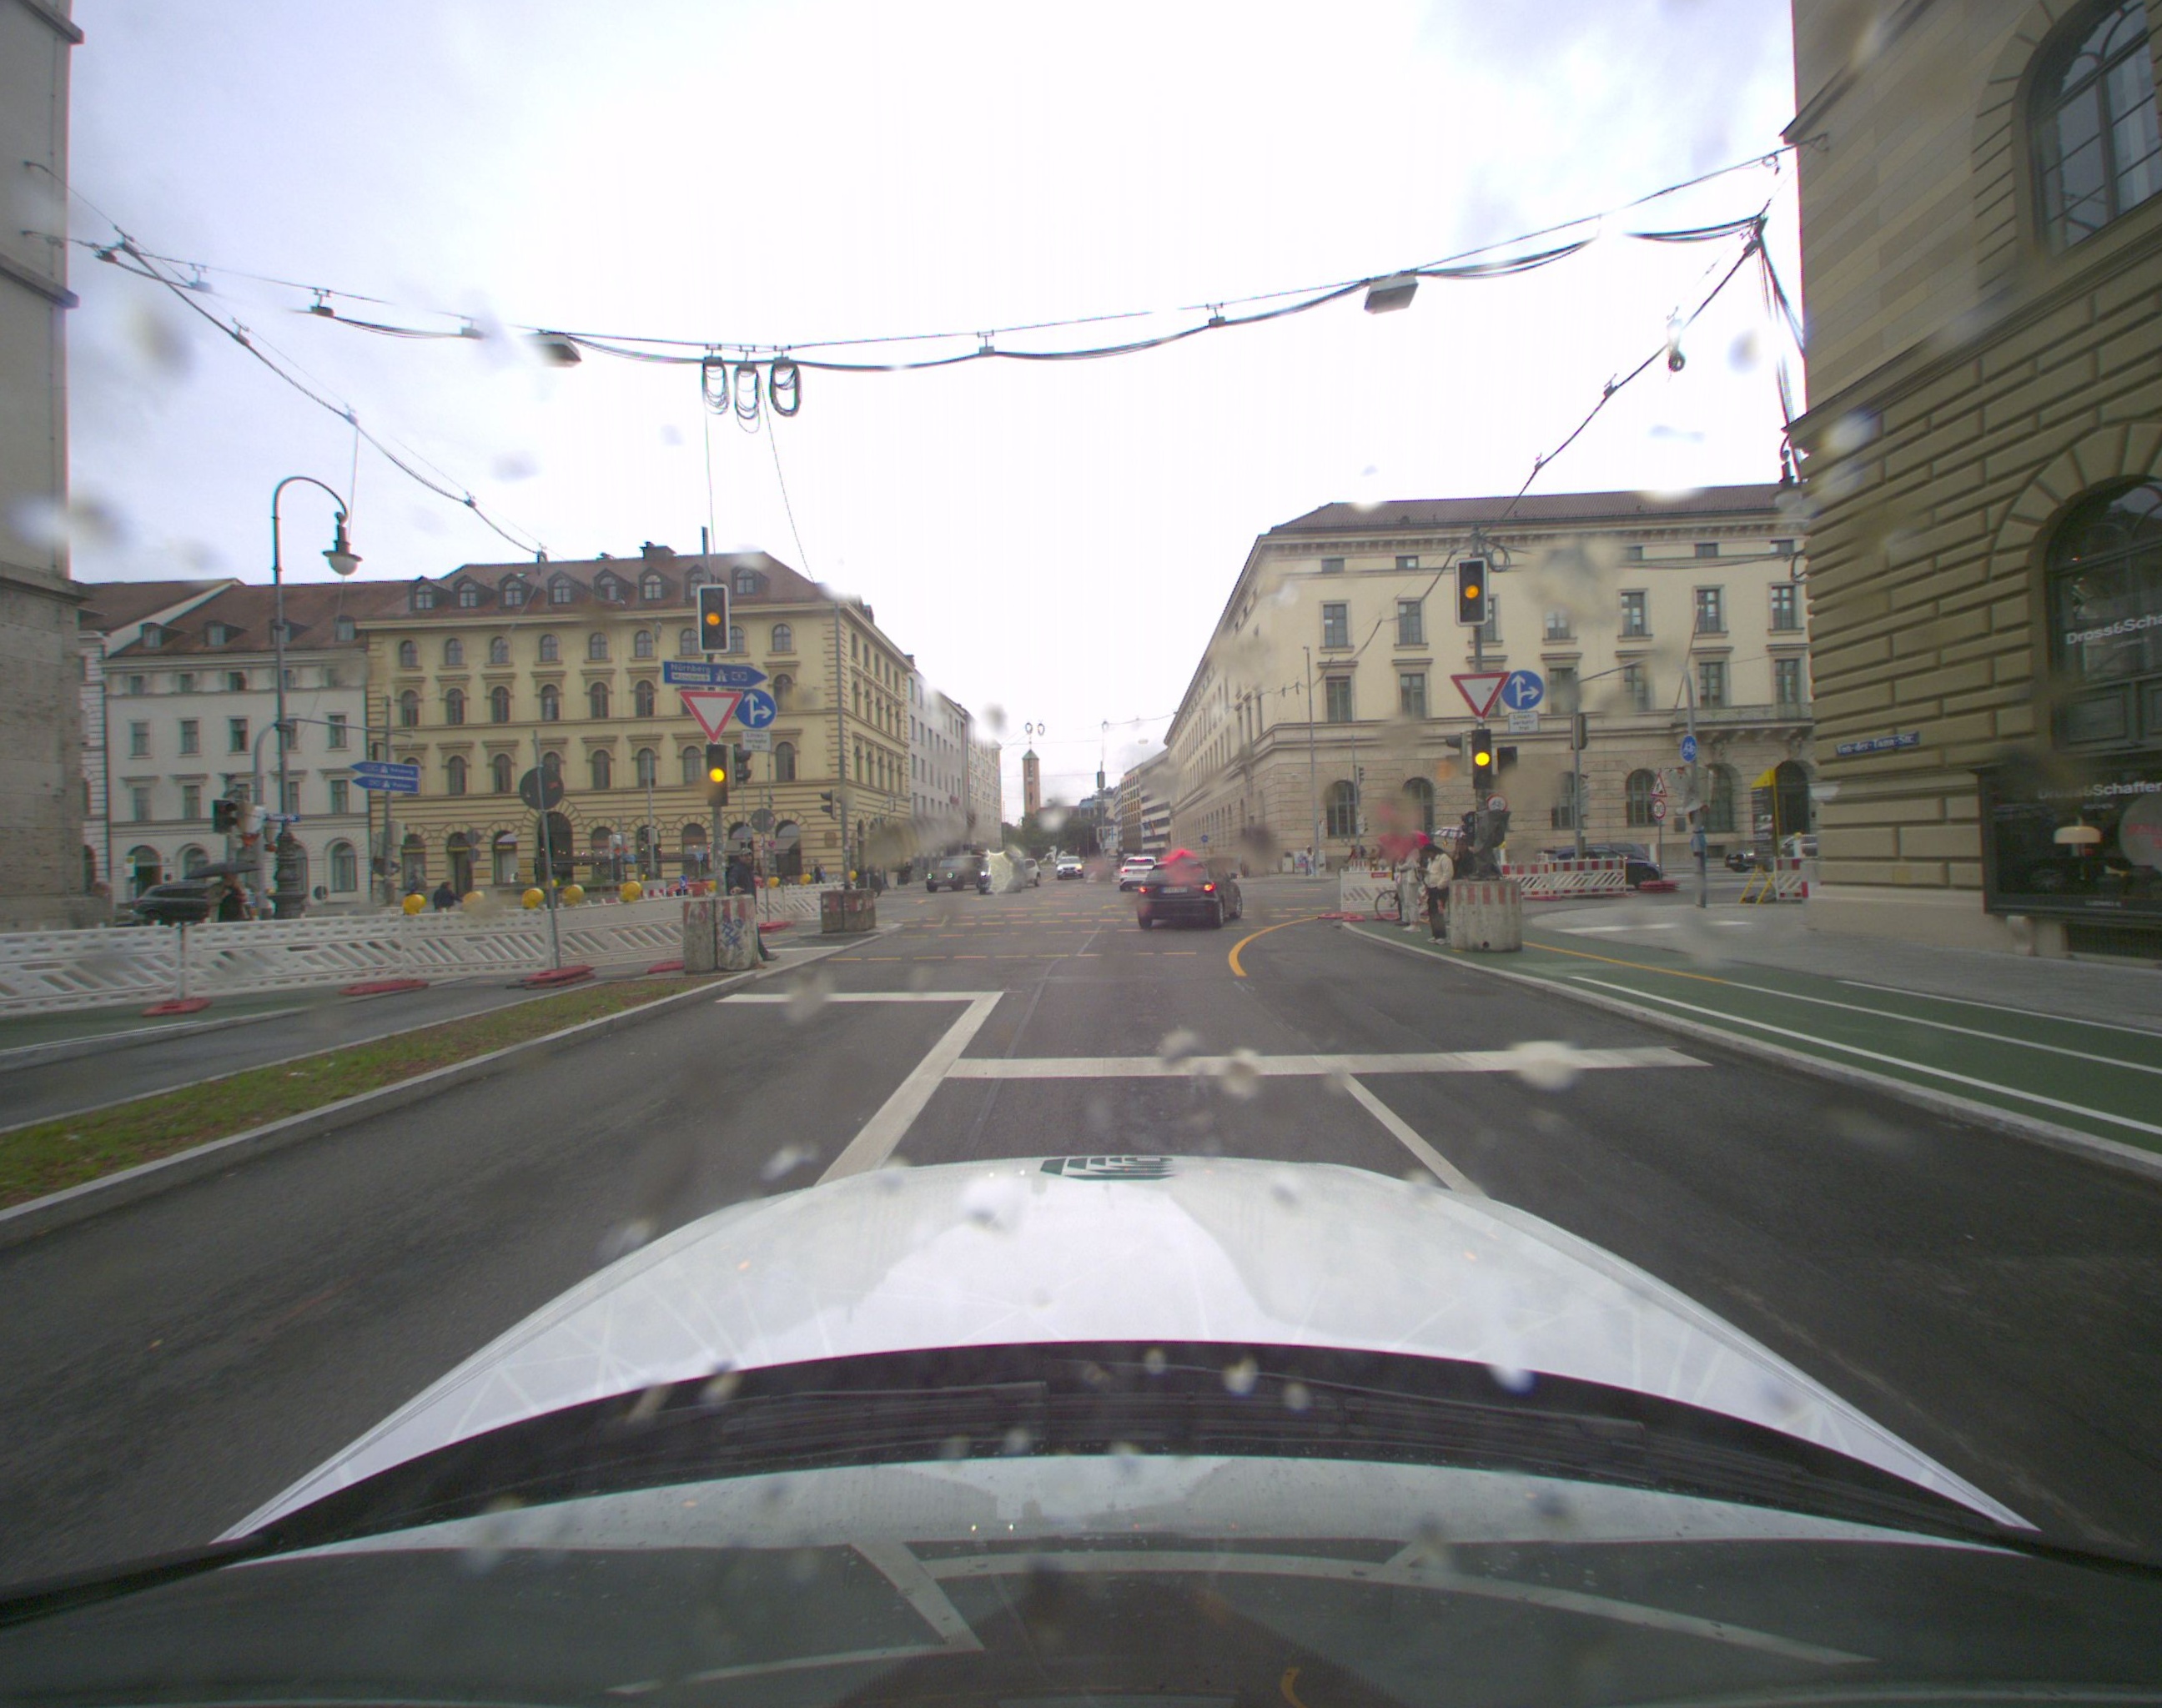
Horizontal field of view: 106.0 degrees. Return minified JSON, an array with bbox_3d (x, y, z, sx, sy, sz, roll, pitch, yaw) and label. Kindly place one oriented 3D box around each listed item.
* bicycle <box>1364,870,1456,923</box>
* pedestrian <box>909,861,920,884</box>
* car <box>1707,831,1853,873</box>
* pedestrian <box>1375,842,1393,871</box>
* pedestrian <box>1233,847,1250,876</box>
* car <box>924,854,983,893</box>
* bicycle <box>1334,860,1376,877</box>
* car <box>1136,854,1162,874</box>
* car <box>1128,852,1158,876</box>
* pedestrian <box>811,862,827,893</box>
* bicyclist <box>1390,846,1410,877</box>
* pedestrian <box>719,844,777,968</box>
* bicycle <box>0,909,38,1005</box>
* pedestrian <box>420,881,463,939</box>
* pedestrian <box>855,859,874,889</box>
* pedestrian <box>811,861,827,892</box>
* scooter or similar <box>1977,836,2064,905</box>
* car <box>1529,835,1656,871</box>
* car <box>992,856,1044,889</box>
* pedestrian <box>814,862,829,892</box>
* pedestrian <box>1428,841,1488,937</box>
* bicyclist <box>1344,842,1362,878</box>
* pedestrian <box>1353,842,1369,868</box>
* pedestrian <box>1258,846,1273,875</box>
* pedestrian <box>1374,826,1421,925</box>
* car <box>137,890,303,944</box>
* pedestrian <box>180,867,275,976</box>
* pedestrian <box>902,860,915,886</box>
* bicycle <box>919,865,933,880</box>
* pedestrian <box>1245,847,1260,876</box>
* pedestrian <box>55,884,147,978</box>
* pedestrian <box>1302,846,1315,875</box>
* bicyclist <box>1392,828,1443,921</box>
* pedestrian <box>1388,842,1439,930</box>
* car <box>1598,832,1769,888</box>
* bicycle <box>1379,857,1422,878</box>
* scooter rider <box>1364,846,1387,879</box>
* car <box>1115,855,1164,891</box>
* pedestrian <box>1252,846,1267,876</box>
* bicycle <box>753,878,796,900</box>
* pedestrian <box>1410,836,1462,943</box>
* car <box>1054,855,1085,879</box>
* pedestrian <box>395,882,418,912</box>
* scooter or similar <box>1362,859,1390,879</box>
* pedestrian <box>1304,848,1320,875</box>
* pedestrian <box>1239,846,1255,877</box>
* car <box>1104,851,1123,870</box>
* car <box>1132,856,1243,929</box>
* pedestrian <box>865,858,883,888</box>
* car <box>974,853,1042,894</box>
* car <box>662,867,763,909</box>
[{"bbox_3d":[6.733,0.847,16.698,1.636,1.011,0.590,-1,0,44],"label":"bicycle"},{"bbox_3d":[-13.362,1.475,65.315,0.734,1.772,0.736,-1,0,1],"label":"pedestrian"},{"bbox_3d":[29.606,-0.053,34.588,4.545,1.567,1.792,-2,-2,1],"label":"car"},{"bbox_3d":[17.682,0.139,47.546,0.712,1.694,0.820,-1,0,3],"label":"pedestrian"},{"bbox_3d":[9.724,0.455,49.348,0.822,1.755,0.580,-1,0,-29],"label":"pedestrian"},{"bbox_3d":[-7.291,1.074,47.005,2.227,2.013,4.456,-2,0,5],"label":"car"},{"bbox_3d":[14.326,0.755,42.639,1.963,0.879,0.662,-1,0,4],"label":"bicycle"},{"bbox_3d":[5.647,0.807,67.760,1.858,1.601,3.852,-2,0,1],"label":"car"},{"bbox_3d":[4.435,0.726,58.573,1.858,1.601,3.852,-2,0,1],"label":"car"},{"bbox_3d":[-15.688,1.399,48.792,0.733,1.772,0.737,-1,0,-9],"label":"pedestrian"},{"bbox_3d":[16.646,0.401,42.495,0.740,1.615,0.796,-1,0,4],"label":"bicyclist"},{"bbox_3d":[-4.942,0.742,12.144,0.512,1.743,1.040,-2,0,-8],"label":"pedestrian"},{"bbox_3d":[-14.803,1.390,10.097,0.783,1.242,2.203,-1,0,6],"label":"bicycle"},{"bbox_3d":[-20.003,1.746,25.487,0.733,1.772,0.737,-1,0,3],"label":"pedestrian"},{"bbox_3d":[-12.808,1.170,48.255,0.727,1.772,0.765,-1,0,22],"label":"pedestrian"},{"bbox_3d":[-15.216,1.302,47.350,0.733,1.772,0.737,-1,0,-9],"label":"pedestrian"},{"bbox_3d":[17.362,0.305,15.056,1.131,1.250,0.351,-1,0,4],"label":"scooter or similar"},{"bbox_3d":[21.545,-0.028,34.409,4.211,1.388,1.749,-1,-2,1],"label":"car"},{"bbox_3d":[-3.487,1.007,45.871,1.781,1.677,4.247,-2,0,12],"label":"car"},{"bbox_3d":[-15.319,1.340,48.089,0.733,1.772,0.737,-1,0,-9],"label":"pedestrian"},{"bbox_3d":[6.329,0.570,13.692,0.699,1.567,0.682,-1,0,4],"label":"pedestrian"},{"bbox_3d":[14.238,0.294,42.646,0.740,1.842,0.661,-1,0,4],"label":"bicyclist"},{"bbox_3d":[16.599,0.060,48.272,0.663,1.527,0.820,-1,0,0],"label":"pedestrian"},{"bbox_3d":[11.079,0.381,48.912,0.578,1.755,0.825,-1,0,33],"label":"pedestrian"},{"bbox_3d":[6.177,0.413,15.928,0.699,1.885,0.642,-1,0,6],"label":"pedestrian"},{"bbox_3d":[-31.706,2.302,30.072,3.972,1.684,2.001,-2,0,1],"label":"car"},{"bbox_3d":[-14.466,1.128,13.820,0.839,1.772,0.741,-1,0,8],"label":"pedestrian"},{"bbox_3d":[-12.289,1.346,58.178,0.734,1.772,0.736,-1,0,1],"label":"pedestrian"},{"bbox_3d":[-13.294,1.603,69.994,0.595,1.242,2.201,-1,0,4],"label":"bicycle"},{"bbox_3d":[10.550,0.476,50.046,0.811,1.755,0.588,-1,0,16],"label":"pedestrian"},{"bbox_3d":[-17.927,1.395,14.911,0.721,1.655,0.740,-2,-3,4],"label":"pedestrian"},{"bbox_3d":[13.177,0.370,47.141,0.612,1.671,0.543,-1,0,9],"label":"pedestrian"},{"bbox_3d":[6.852,0.405,16.577,0.789,1.854,0.571,-1,0,43],"label":"bicyclist"},{"bbox_3d":[6.006,0.567,14.746,0.699,1.567,0.542,-1,0,3],"label":"pedestrian"},{"bbox_3d":[18.680,0.185,25.371,3.971,1.617,1.776,-1,0,2],"label":"car"},{"bbox_3d":[16.650,0.687,42.499,1.949,1.040,0.796,-1,0,4],"label":"bicycle"},{"bbox_3d":[15.024,0.435,41.533,0.928,1.622,0.593,-1,0,3],"label":"scooter rider"},{"bbox_3d":[2.599,0.773,35.264,1.803,1.424,4.462,-1,0,8],"label":"car"},{"bbox_3d":[10.555,0.413,48.148,0.578,1.755,0.825,-1,0,33],"label":"pedestrian"},{"bbox_3d":[-16.862,1.900,44.805,2.201,1.099,0.595,-2,-1,-23],"label":"bicycle"},{"bbox_3d":[5.568,0.545,12.798,0.529,1.620,0.674,-1,0,4],"label":"pedestrian"},{"bbox_3d":[-0.763,0.900,57.999,1.986,1.524,4.234,-2,0,1],"label":"car"},{"bbox_3d":[-41.238,2.596,49.776,0.731,1.772,0.739,-2,0,1],"label":"pedestrian"},{"bbox_3d":[15.025,0.754,41.530,1.206,0.965,0.588,-1,0,3],"label":"scooter or similar"},{"bbox_3d":[13.149,0.420,46.408,0.812,1.557,0.669,-1,0,9],"label":"pedestrian"},{"bbox_3d":[9.707,0.428,47.729,0.811,1.755,0.683,-1,0,18],"label":"pedestrian"},{"bbox_3d":[3.726,0.743,93.215,1.986,2.013,4.001,-2,0,1],"label":"car"},{"bbox_3d":[2.463,0.766,17.929,1.849,1.388,4.016,-1,0,15],"label":"car"},{"bbox_3d":[-12.433,1.151,48.974,0.727,1.772,0.743,-1,0,22],"label":"pedestrian"},{"bbox_3d":[-3.355,0.879,38.530,1.982,1.734,4.598,-2,0,10],"label":"car"},{"bbox_3d":[-16.952,1.520,37.656,3.999,1.720,1.812,-2,0,-19],"label":"car"}]
